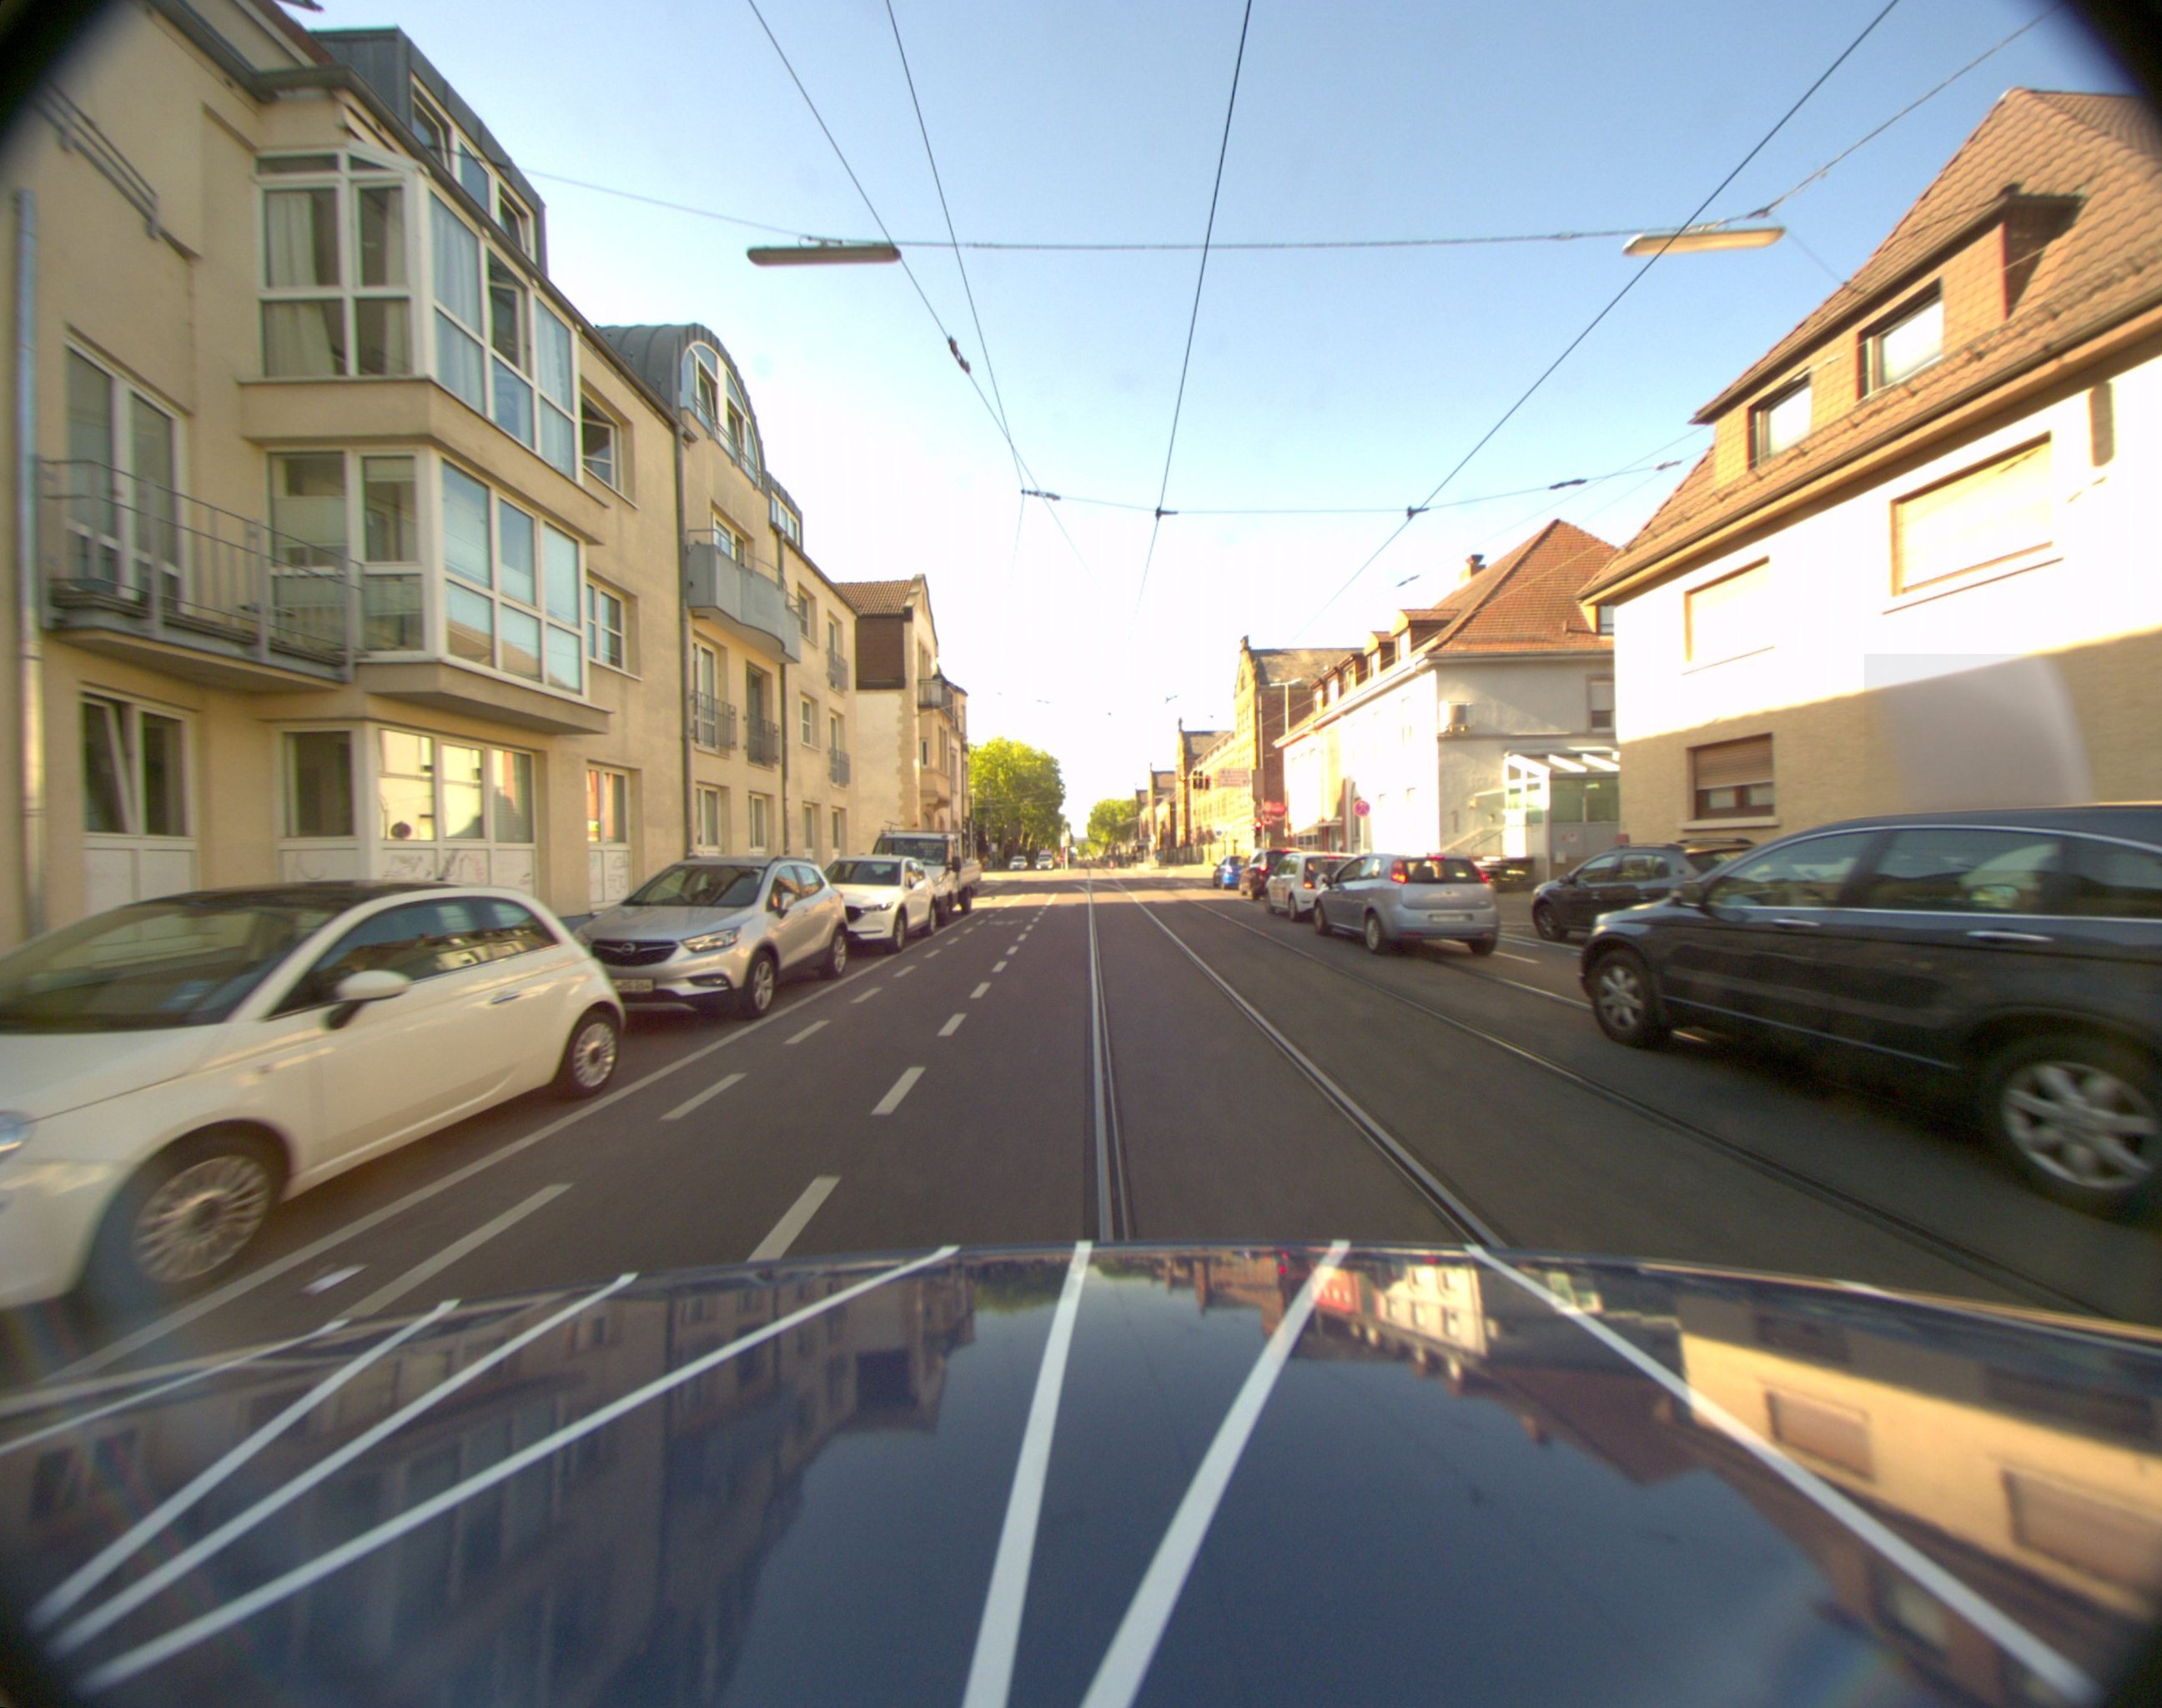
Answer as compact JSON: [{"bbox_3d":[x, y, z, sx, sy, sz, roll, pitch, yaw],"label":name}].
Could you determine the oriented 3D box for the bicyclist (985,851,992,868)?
[{"bbox_3d":[-9.710,0.557,79.818,0.670,1.718,0.623,-1,-2,0],"label":"bicyclist"}]

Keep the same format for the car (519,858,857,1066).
[{"bbox_3d":[-3.990,0.950,8.568,1.606,1.690,3.989,-3,0,1],"label":"car"}]

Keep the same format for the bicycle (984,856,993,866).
[{"bbox_3d":[-9.703,0.749,80.051,0.690,1.027,2.100,-1,-2,0],"label":"bicycle"}]

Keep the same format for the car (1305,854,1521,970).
[{"bbox_3d":[4.882,0.754,11.842,1.621,1.452,4.075,0,1,1],"label":"car"}]

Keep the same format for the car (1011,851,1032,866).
[{"bbox_3d":[-6.664,0.481,85.142,1.911,1.608,4.572,-2,0,0],"label":"car"}]

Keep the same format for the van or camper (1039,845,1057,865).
[{"bbox_3d":[-4.120,0.130,95.992,1.998,2.346,5.600,-1,-1,0],"label":"van or camper"}]

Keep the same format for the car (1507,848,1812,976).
[{"bbox_3d":[8.429,0.717,11.589,1.619,1.618,3.921,0,1,0],"label":"car"}]

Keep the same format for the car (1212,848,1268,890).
[{"bbox_3d":[6.414,0.570,31.055,1.687,1.558,3.929,1,0,4],"label":"car"}]

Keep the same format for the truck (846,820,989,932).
[{"bbox_3d":[-4.037,0.482,20.098,2.301,2.463,6.146,-1,0,1],"label":"truck"}]

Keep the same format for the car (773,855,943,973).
[{"bbox_3d":[-3.871,0.936,13.990,1.743,1.736,4.255,-3,0,1],"label":"car"}]

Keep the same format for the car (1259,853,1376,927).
[{"bbox_3d":[5.173,0.718,17.049,1.586,1.452,3.613,0,1,2],"label":"car"}]

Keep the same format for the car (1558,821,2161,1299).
[{"bbox_3d":[4.708,0.721,3.974,1.708,1.695,4.363,0,1,1],"label":"car"}]

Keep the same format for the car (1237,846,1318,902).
[{"bbox_3d":[6.207,0.565,24.500,1.742,1.602,4.715,0,1,5],"label":"car"}]

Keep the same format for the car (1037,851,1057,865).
[{"bbox_3d":[-3.840,0.496,86.807,1.984,1.539,4.035,-1,0,1],"label":"car"}]

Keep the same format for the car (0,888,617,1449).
[{"bbox_3d":[-4.056,1.054,3.666,1.500,1.548,3.364,-3,0,0],"label":"car"}]
